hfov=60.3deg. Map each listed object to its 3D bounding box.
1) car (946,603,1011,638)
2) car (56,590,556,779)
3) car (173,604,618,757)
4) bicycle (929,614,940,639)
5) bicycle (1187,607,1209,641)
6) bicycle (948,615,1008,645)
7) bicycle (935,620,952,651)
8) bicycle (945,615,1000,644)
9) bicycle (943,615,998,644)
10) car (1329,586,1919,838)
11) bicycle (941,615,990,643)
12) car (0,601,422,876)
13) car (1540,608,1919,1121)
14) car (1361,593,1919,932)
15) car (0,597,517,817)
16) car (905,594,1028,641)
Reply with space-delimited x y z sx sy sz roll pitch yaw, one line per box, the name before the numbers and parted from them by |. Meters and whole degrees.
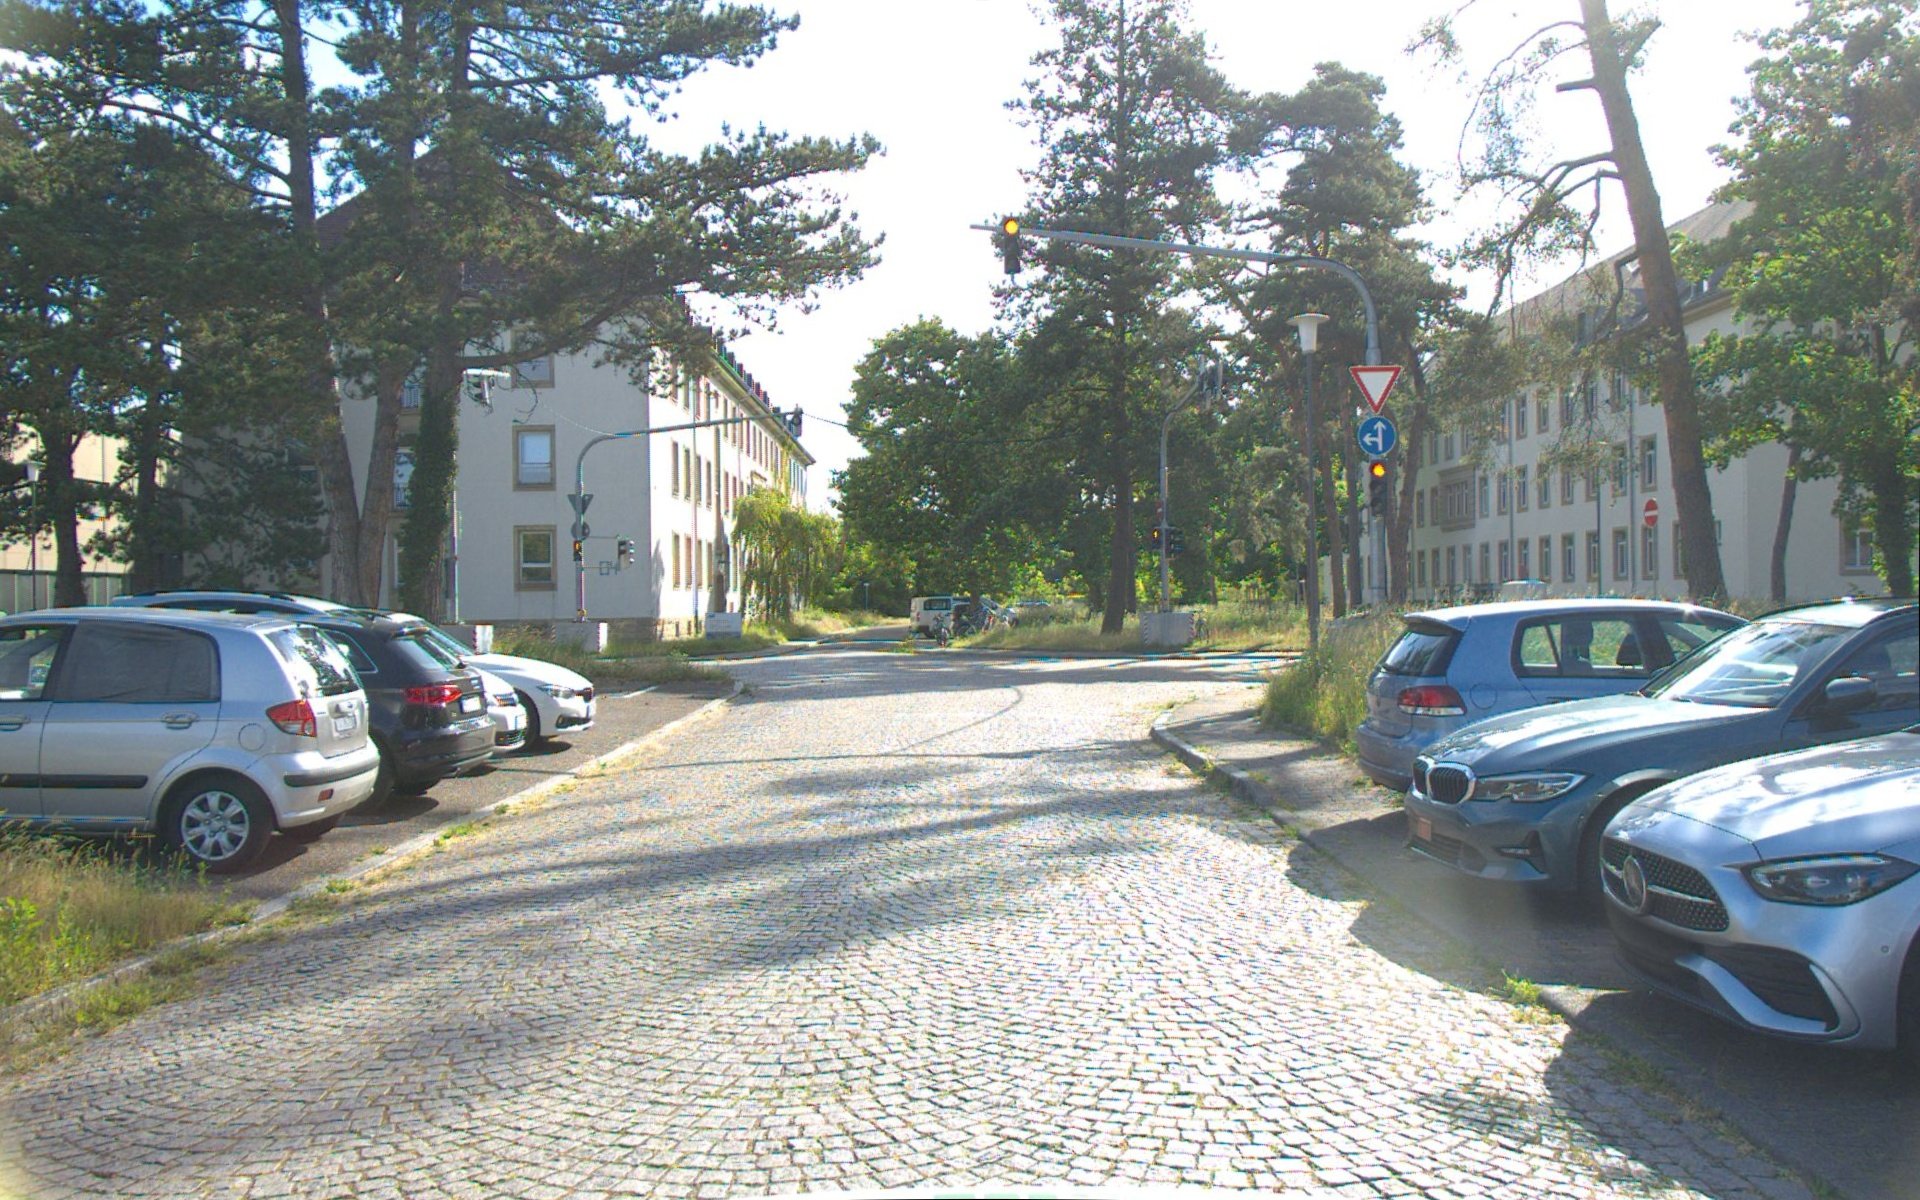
car | 0.824 0.921 74.599 2.727 1.492 1.669 1 -1 -5
car | -6.091 0.762 15.813 3.999 1.621 1.884 1 0 -4
car | -6.065 0.849 18.183 4.247 1.494 1.829 1 0 -4
bicycle | -1.061 1.131 69.753 0.409 1.028 1.483 1 -1 0
bicycle | 6.909 0.700 48.105 0.294 0.977 1.584 1 -1 -4
bicycle | 0.652 1.083 60.121 2.070 1.028 0.620 1 -1 -8
bicycle | -0.569 1.208 56.682 0.458 1.028 1.584 1 -1 -4
bicycle | 0.471 1.101 61.832 1.967 1.028 0.631 1 -1 -8
bicycle | 0.389 1.111 62.713 1.990 1.028 0.626 1 -1 -8
car | 4.626 0.701 11.305 3.803 1.440 1.636 -2 0 0
bicycle | 0.206 1.118 63.584 1.803 1.028 0.635 1 -1 -8
car | -5.443 0.788 10.245 3.672 1.513 1.645 1 0 -4
car | 4.544 0.732 5.823 4.341 1.440 1.781 -2 0 0
car | 4.515 0.726 8.524 4.466 1.440 1.636 -2 0 0
car | -5.637 0.779 12.858 3.908 1.506 1.802 1 0 -4
car | 0.301 0.842 78.164 5.437 2.049 1.989 2 -1 -19
